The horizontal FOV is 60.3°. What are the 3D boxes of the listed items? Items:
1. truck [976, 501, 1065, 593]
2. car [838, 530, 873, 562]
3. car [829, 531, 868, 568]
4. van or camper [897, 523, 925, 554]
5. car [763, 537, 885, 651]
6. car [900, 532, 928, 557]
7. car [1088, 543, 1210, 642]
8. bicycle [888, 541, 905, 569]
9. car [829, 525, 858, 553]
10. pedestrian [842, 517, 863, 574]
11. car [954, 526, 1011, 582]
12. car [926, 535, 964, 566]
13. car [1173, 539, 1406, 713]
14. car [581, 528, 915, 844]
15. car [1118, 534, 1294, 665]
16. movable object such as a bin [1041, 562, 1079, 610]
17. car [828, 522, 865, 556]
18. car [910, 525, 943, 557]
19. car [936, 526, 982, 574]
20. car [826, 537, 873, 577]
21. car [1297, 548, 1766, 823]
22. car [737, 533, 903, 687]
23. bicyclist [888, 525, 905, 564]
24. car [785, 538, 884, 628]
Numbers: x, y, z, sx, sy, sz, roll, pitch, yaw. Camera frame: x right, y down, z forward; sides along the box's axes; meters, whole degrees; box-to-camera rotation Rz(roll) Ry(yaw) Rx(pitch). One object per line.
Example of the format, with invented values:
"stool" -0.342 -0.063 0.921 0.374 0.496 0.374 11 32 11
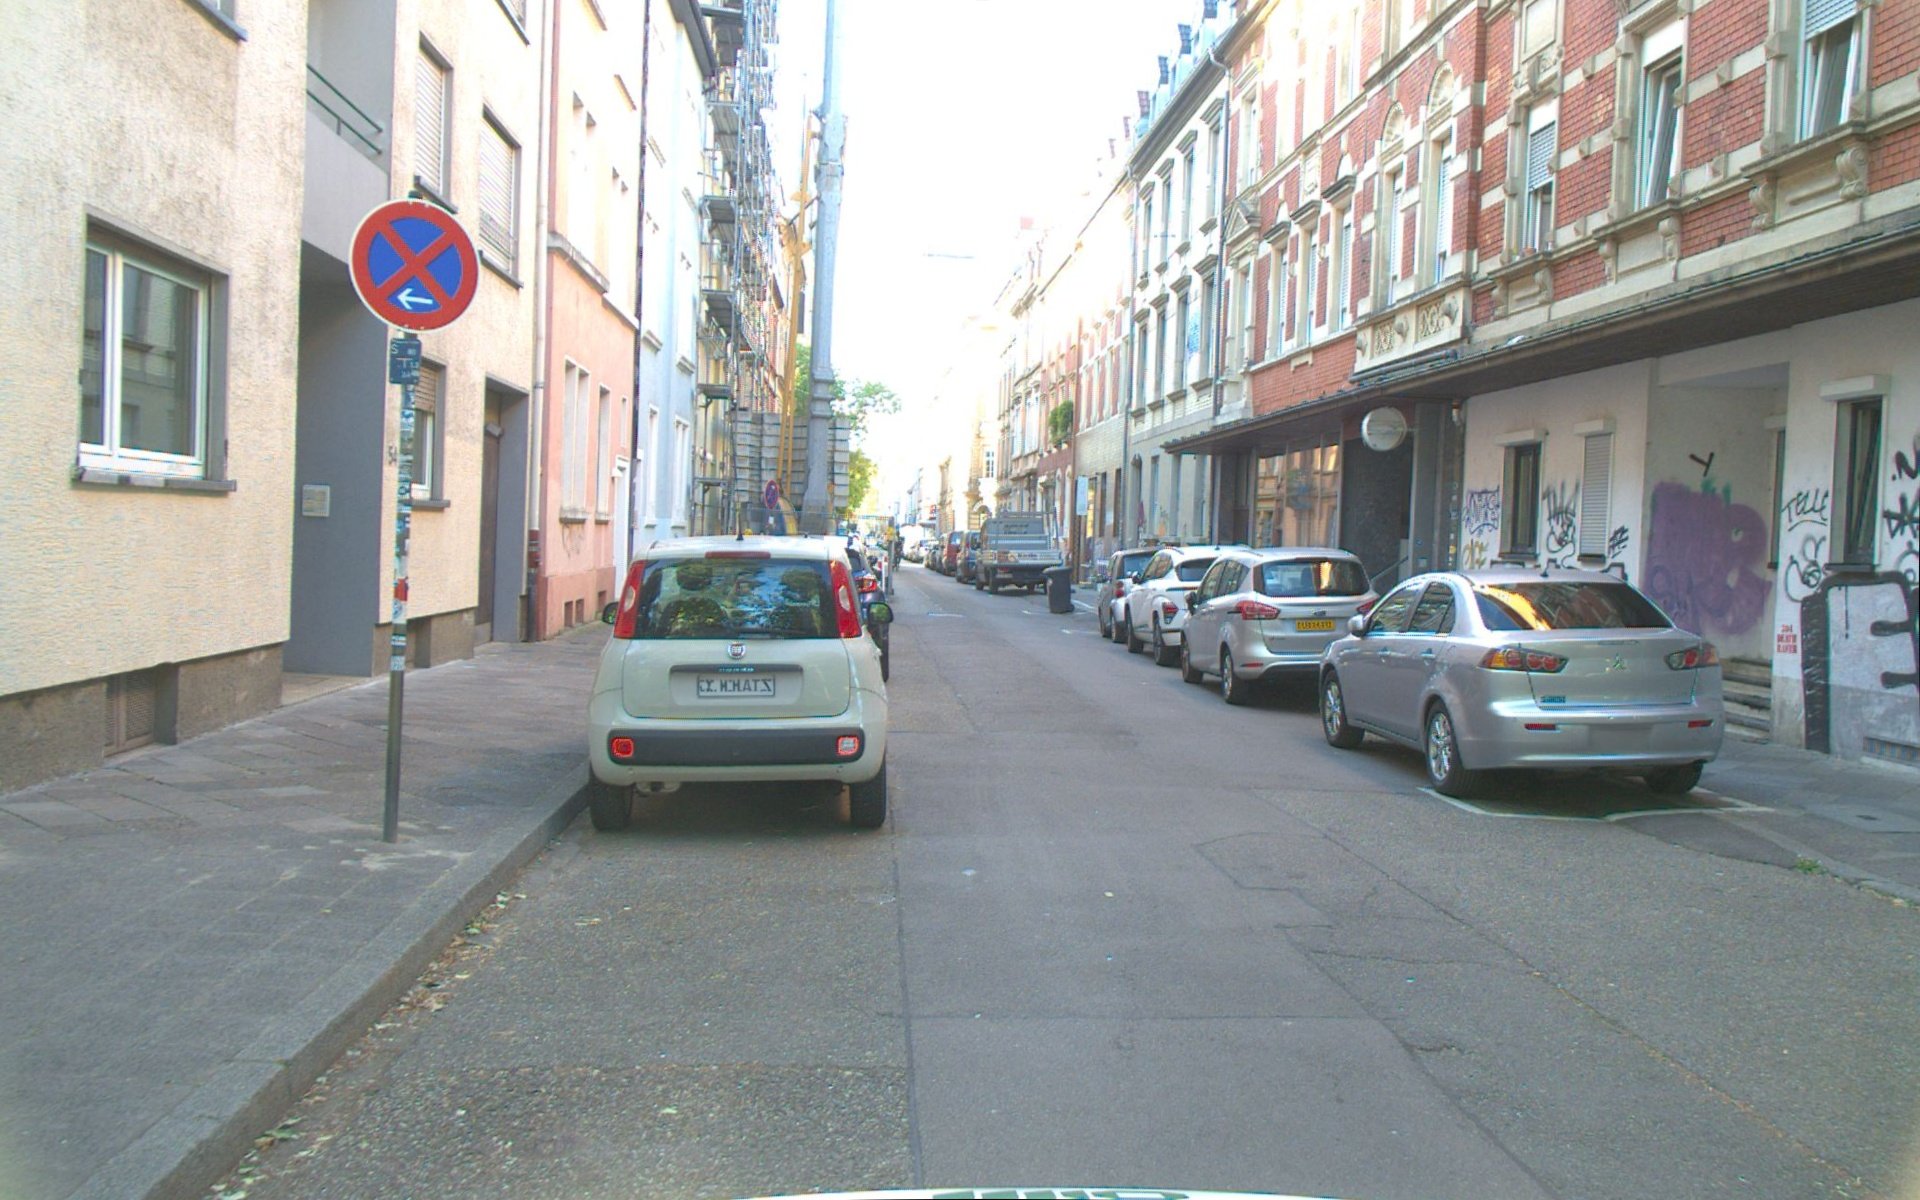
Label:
"truck" 1.804 -1.656 51.221 2.147 2.652 5.230 1 2 -5
"car" -5.515 -2.864 87.100 1.642 1.598 3.865 1 2 -6
"car" -5.206 -2.347 76.637 1.642 1.598 3.865 1 2 -6
"van or camper" -4.181 -5.204 140.446 1.956 2.551 4.196 0 2 -8
"car" -2.003 -0.154 24.872 1.642 1.538 4.412 1 2 -4
"car" -3.505 -4.240 125.583 1.954 1.880 3.997 1 2 -5
"car" 3.278 -0.186 29.292 1.564 1.587 3.813 1 2 -2
"bicycle" -2.939 -2.089 76.169 0.710 1.206 2.042 3 3 -3
"car" -8.115 -4.233 115.206 1.954 1.880 3.997 1 2 -5
"pedestrian" -3.346 -1.709 51.488 0.644 1.762 0.719 0 2 -4
"car" 0.799 -1.736 61.677 1.642 1.996 4.105 1 2 -6
"car" -0.836 -2.630 87.578 1.642 1.598 3.865 1 2 -6
"car" 3.539 0.197 18.420 1.607 1.684 3.868 2 2 -3
"car" -1.243 0.367 10.182 1.642 1.566 3.865 1 2 -6
"car" 3.466 -0.077 24.072 1.711 1.704 4.339 1 2 -3
"movable object such as a bin" 2.358 -0.333 39.013 0.779 1.074 0.660 2 2 -4
"car" -5.642 -3.035 81.881 1.642 1.598 3.865 1 2 -6
"car" -2.302 -4.024 111.923 1.955 2.048 3.997 2 2 -5
"car" -0.089 -2.260 74.118 1.642 2.066 3.865 1 2 -6
"car" -4.245 -1.652 62.986 1.642 1.470 3.865 1 2 -6
"car" 3.961 0.465 12.347 1.687 1.589 4.396 2 2 -4
"car" -1.647 0.031 19.109 1.696 1.566 4.373 0 2 -6
"bicyclist" -2.917 -2.560 76.117 0.716 1.791 0.835 2 2 -3
"car" -2.290 -0.366 30.479 1.642 1.502 4.605 1 2 -4
